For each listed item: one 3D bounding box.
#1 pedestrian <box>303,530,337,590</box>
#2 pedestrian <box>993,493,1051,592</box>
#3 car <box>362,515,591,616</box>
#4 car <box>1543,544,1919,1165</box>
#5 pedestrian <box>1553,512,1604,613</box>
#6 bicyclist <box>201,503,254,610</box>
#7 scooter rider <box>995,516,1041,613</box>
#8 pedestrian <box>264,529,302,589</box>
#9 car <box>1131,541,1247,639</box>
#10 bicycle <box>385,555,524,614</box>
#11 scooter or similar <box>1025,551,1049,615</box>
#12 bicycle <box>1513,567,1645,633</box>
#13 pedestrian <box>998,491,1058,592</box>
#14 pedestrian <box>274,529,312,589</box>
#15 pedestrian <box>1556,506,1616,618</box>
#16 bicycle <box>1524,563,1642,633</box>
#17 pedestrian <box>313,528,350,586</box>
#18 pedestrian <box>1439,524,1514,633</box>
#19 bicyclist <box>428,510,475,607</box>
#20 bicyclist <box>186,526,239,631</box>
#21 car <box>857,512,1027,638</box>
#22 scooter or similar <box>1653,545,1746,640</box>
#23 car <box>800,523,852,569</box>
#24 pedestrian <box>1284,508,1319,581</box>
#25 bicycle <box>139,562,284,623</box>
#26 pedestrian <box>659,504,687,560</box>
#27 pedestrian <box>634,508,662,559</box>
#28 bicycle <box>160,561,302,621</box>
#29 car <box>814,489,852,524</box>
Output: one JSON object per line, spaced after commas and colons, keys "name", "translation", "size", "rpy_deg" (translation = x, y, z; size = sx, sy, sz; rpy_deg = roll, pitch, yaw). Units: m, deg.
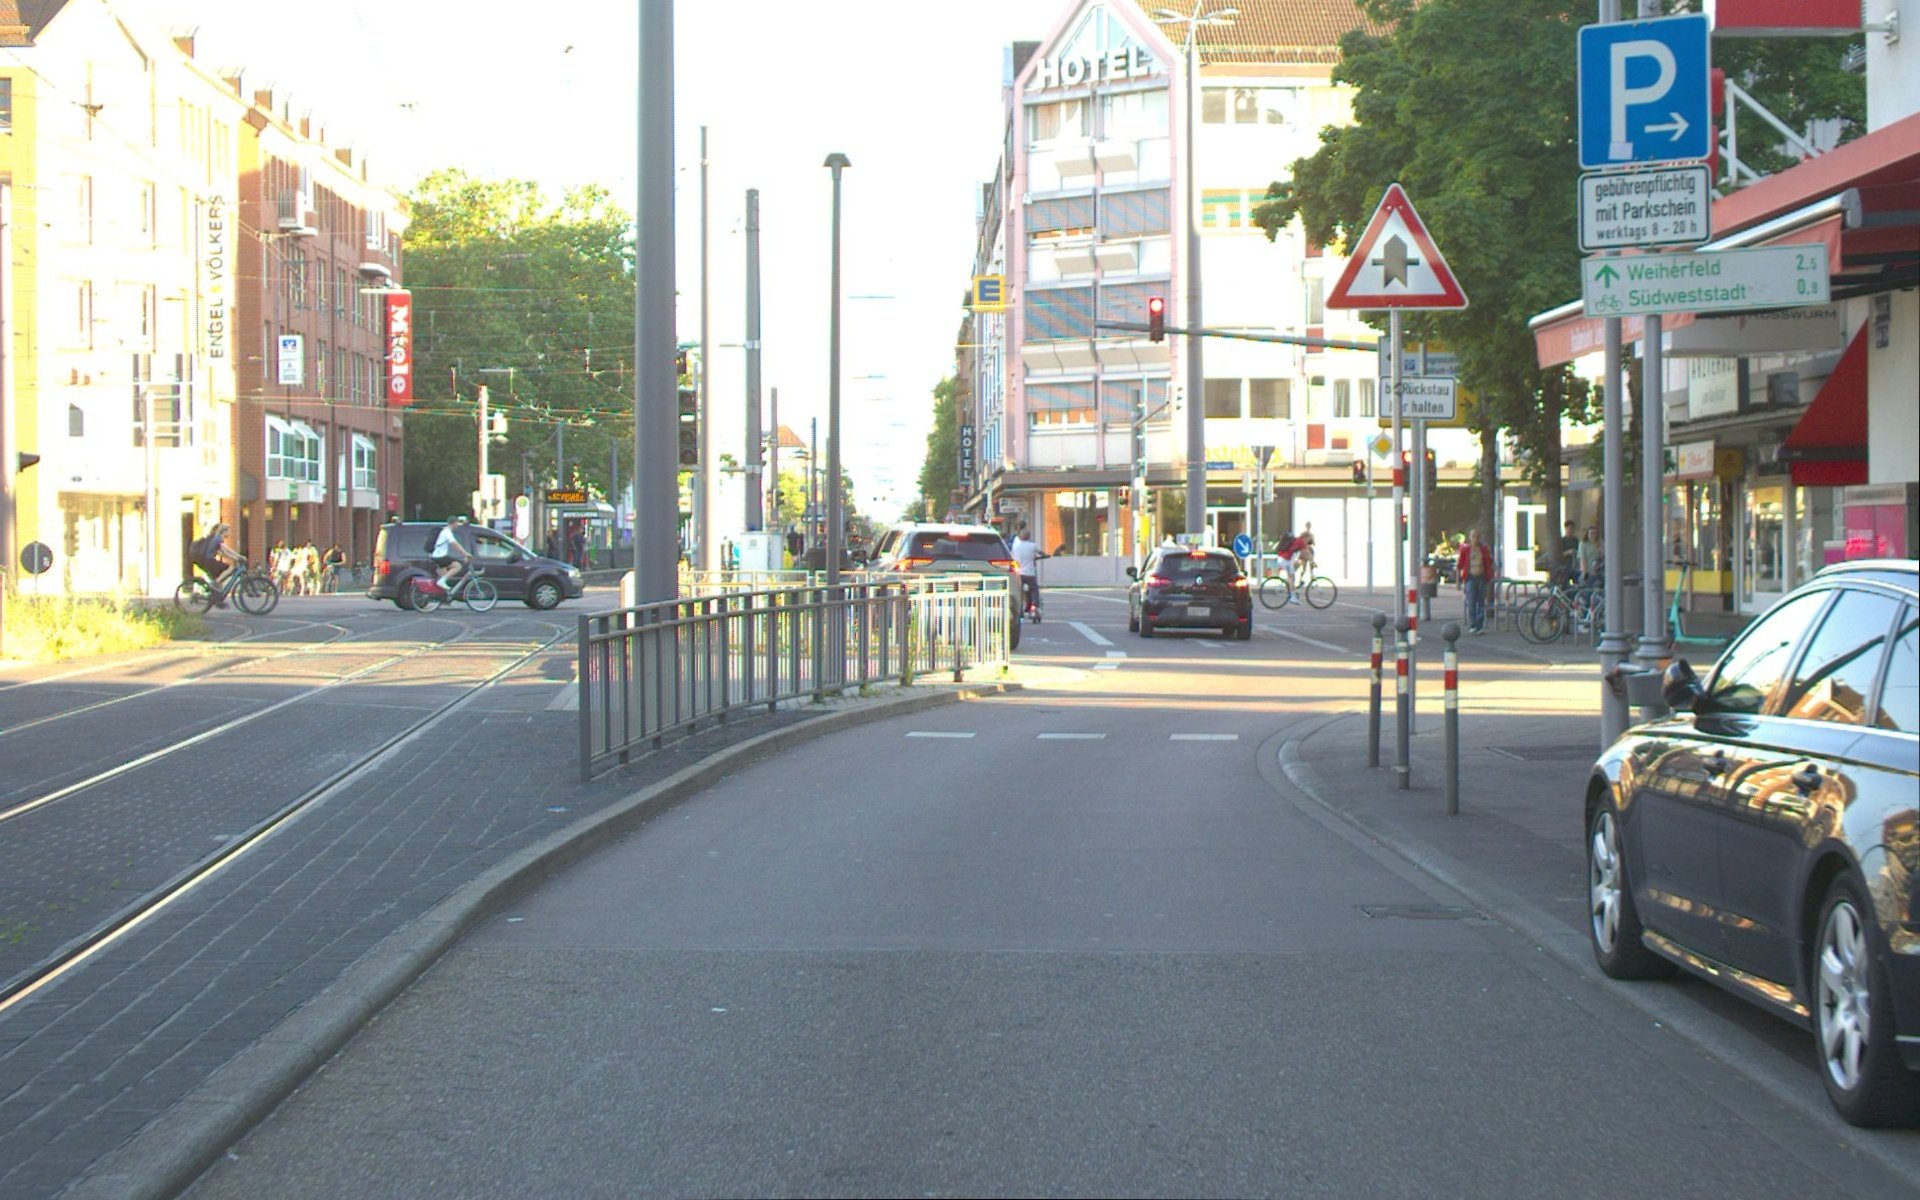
{"name": "pedestrian", "translation": [-21.824, -1.365, 117.307], "size": [0.976, 2.007, 0.909], "rpy_deg": [2, 1, -3]}
{"name": "pedestrian", "translation": [1.166, -1.074, 64.521], "size": [0.994, 1.824, 0.729], "rpy_deg": [2, 1, -3]}
{"name": "car", "translation": [-10.079, -0.732, 71.552], "size": [4.559, 2.030, 2.001], "rpy_deg": [-1, 1, -13]}
{"name": "car", "translation": [3.043, 0.572, 9.923], "size": [1.790, 1.408, 4.688], "rpy_deg": [2, 1, -1]}
{"name": "pedestrian", "translation": [11.052, -0.674, 61.462], "size": [0.746, 1.772, 0.800], "rpy_deg": [2, 0, 3]}
{"name": "bicyclist", "translation": [-13.980, -0.838, 65.592], "size": [0.860, 2.007, 0.647], "rpy_deg": [1, 1, -20]}
{"name": "scooter rider", "translation": [1.000, -0.607, 59.193], "size": [0.662, 1.641, 0.661], "rpy_deg": [2, 1, 8]}
{"name": "pedestrian", "translation": [-23.017, -1.399, 116.877], "size": [1.093, 2.007, 0.909], "rpy_deg": [2, 1, -3]}
{"name": "car", "translation": [3.626, -0.185, 54.081], "size": [1.764, 1.435, 4.000], "rpy_deg": [0, 1, 5]}
{"name": "bicycle", "translation": [-9.890, -0.304, 67.324], "size": [2.639, 1.096, 0.435], "rpy_deg": [2, 1, -6]}
{"name": "scooter or similar", "translation": [1.328, -0.299, 59.297], "size": [0.279, 1.087, 1.257], "rpy_deg": [2, 1, 6]}
{"name": "bicycle", "translation": [8.881, -0.007, 49.349], "size": [1.818, 0.888, 0.415], "rpy_deg": [2, 1, 6]}
{"name": "pedestrian", "translation": [1.262, -1.082, 63.748], "size": [0.994, 1.824, 0.729], "rpy_deg": [2, 1, -4]}
{"name": "pedestrian", "translation": [-22.969, -1.410, 118.395], "size": [1.093, 2.007, 0.909], "rpy_deg": [2, 1, -3]}
{"name": "pedestrian", "translation": [10.103, -0.617, 55.479], "size": [0.746, 1.772, 0.973], "rpy_deg": [2, 0, 1]}
{"name": "bicycle", "translation": [9.108, -0.037, 50.301], "size": [1.658, 0.971, 0.386], "rpy_deg": [2, 1, 6]}
{"name": "pedestrian", "translation": [-22.256, -1.534, 121.708], "size": [1.093, 2.007, 1.163], "rpy_deg": [2, 1, -3]}
{"name": "pedestrian", "translation": [8.095, -0.341, 53.921], "size": [0.823, 1.679, 1.049], "rpy_deg": [1, 1, -9]}
{"name": "bicyclist", "translation": [-9.949, -0.809, 67.286], "size": [0.860, 1.871, 0.647], "rpy_deg": [2, 1, -7]}
{"name": "bicyclist", "translation": [-14.426, -0.421, 66.337], "size": [0.860, 2.007, 0.647], "rpy_deg": [1, 1, -21]}
{"name": "car", "translation": [-0.292, -0.354, 46.693], "size": [1.835, 1.630, 4.091], "rpy_deg": [0, 1, -7]}
{"name": "scooter or similar", "translation": [9.623, -0.091, 44.736], "size": [0.294, 1.213, 1.220], "rpy_deg": [1, -1, -45]}
{"name": "car", "translation": [-5.219, -2.100, 134.597], "size": [1.811, 1.740, 3.715], "rpy_deg": [2, 1, 0]}
{"name": "pedestrian", "translation": [8.441, -1.359, 84.952], "size": [0.746, 1.772, 0.800], "rpy_deg": [2, 0, 2]}
{"name": "bicycle", "translation": [-14.254, -0.143, 65.454], "size": [2.639, 1.096, 0.435], "rpy_deg": [1, 1, -20]}
{"name": "pedestrian", "translation": [-9.570, -2.267, 114.545], "size": [0.805, 1.816, 0.703], "rpy_deg": [2, 1, 2]}
{"name": "pedestrian", "translation": [-10.312, -2.206, 113.784], "size": [0.805, 1.658, 0.703], "rpy_deg": [2, 1, 1]}
{"name": "bicycle", "translation": [-14.116, -0.170, 66.592], "size": [2.639, 1.096, 0.435], "rpy_deg": [1, 1, -20]}
{"name": "car", "translation": [-7.394, -5.450, 200.724], "size": [1.993, 1.894, 4.000], "rpy_deg": [2, 1, 0]}
